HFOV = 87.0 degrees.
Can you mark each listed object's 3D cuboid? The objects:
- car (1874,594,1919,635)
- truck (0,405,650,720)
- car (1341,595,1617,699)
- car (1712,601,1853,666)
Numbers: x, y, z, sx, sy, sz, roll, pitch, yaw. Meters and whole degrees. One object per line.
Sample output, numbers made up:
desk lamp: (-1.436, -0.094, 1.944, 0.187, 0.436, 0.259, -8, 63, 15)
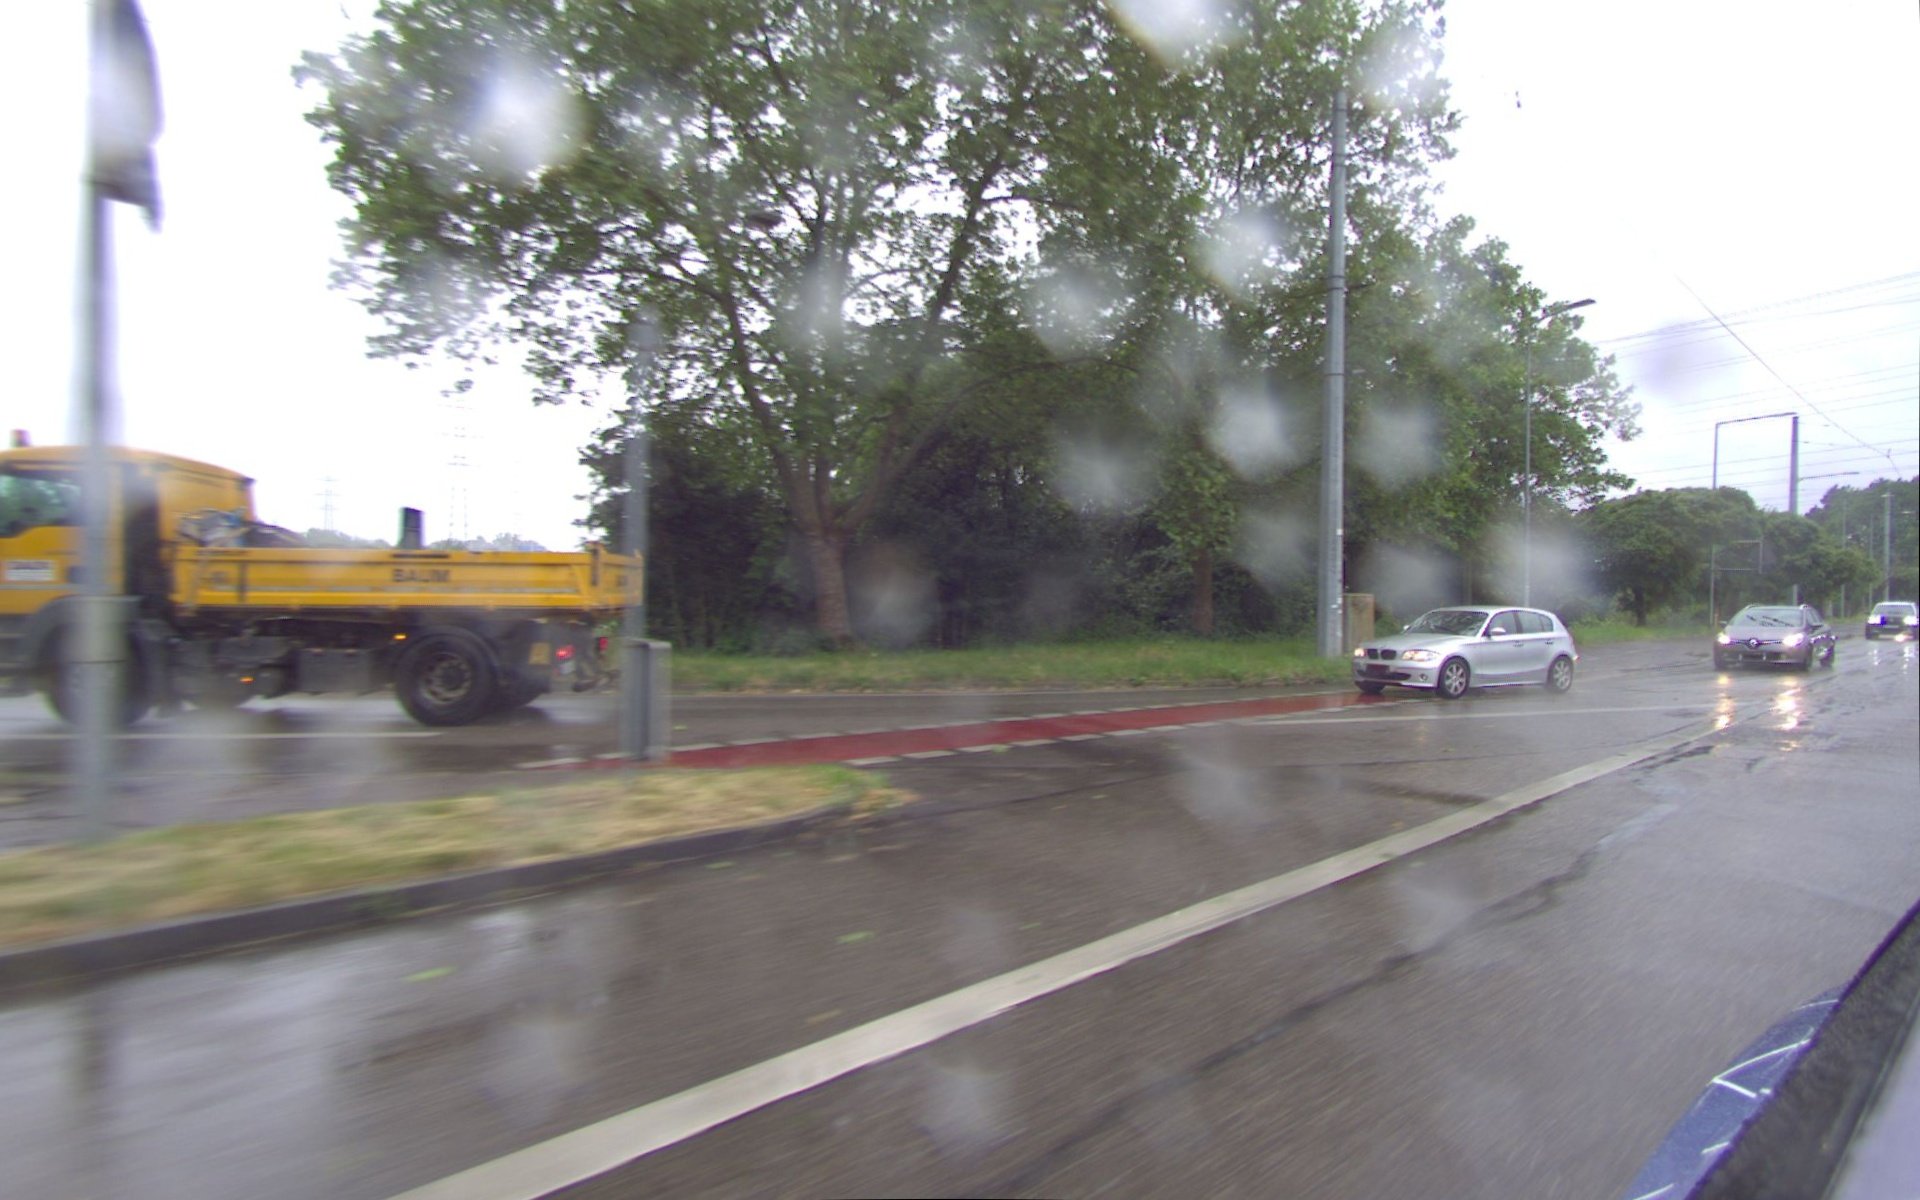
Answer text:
car: (41.635, 0.647, 44.360, 4.680, 1.724, 1.795, 1, -1, -41)
truck: (-7.457, -0.366, 12.058, 6.794, 3.299, 2.566, 0, -1, -5)
car: (8.515, 0.707, 16.536, 4.511, 1.522, 1.634, 1, -1, -26)
car: (19.223, 0.733, 23.601, 4.202, 1.374, 1.890, 1, -1, -42)
